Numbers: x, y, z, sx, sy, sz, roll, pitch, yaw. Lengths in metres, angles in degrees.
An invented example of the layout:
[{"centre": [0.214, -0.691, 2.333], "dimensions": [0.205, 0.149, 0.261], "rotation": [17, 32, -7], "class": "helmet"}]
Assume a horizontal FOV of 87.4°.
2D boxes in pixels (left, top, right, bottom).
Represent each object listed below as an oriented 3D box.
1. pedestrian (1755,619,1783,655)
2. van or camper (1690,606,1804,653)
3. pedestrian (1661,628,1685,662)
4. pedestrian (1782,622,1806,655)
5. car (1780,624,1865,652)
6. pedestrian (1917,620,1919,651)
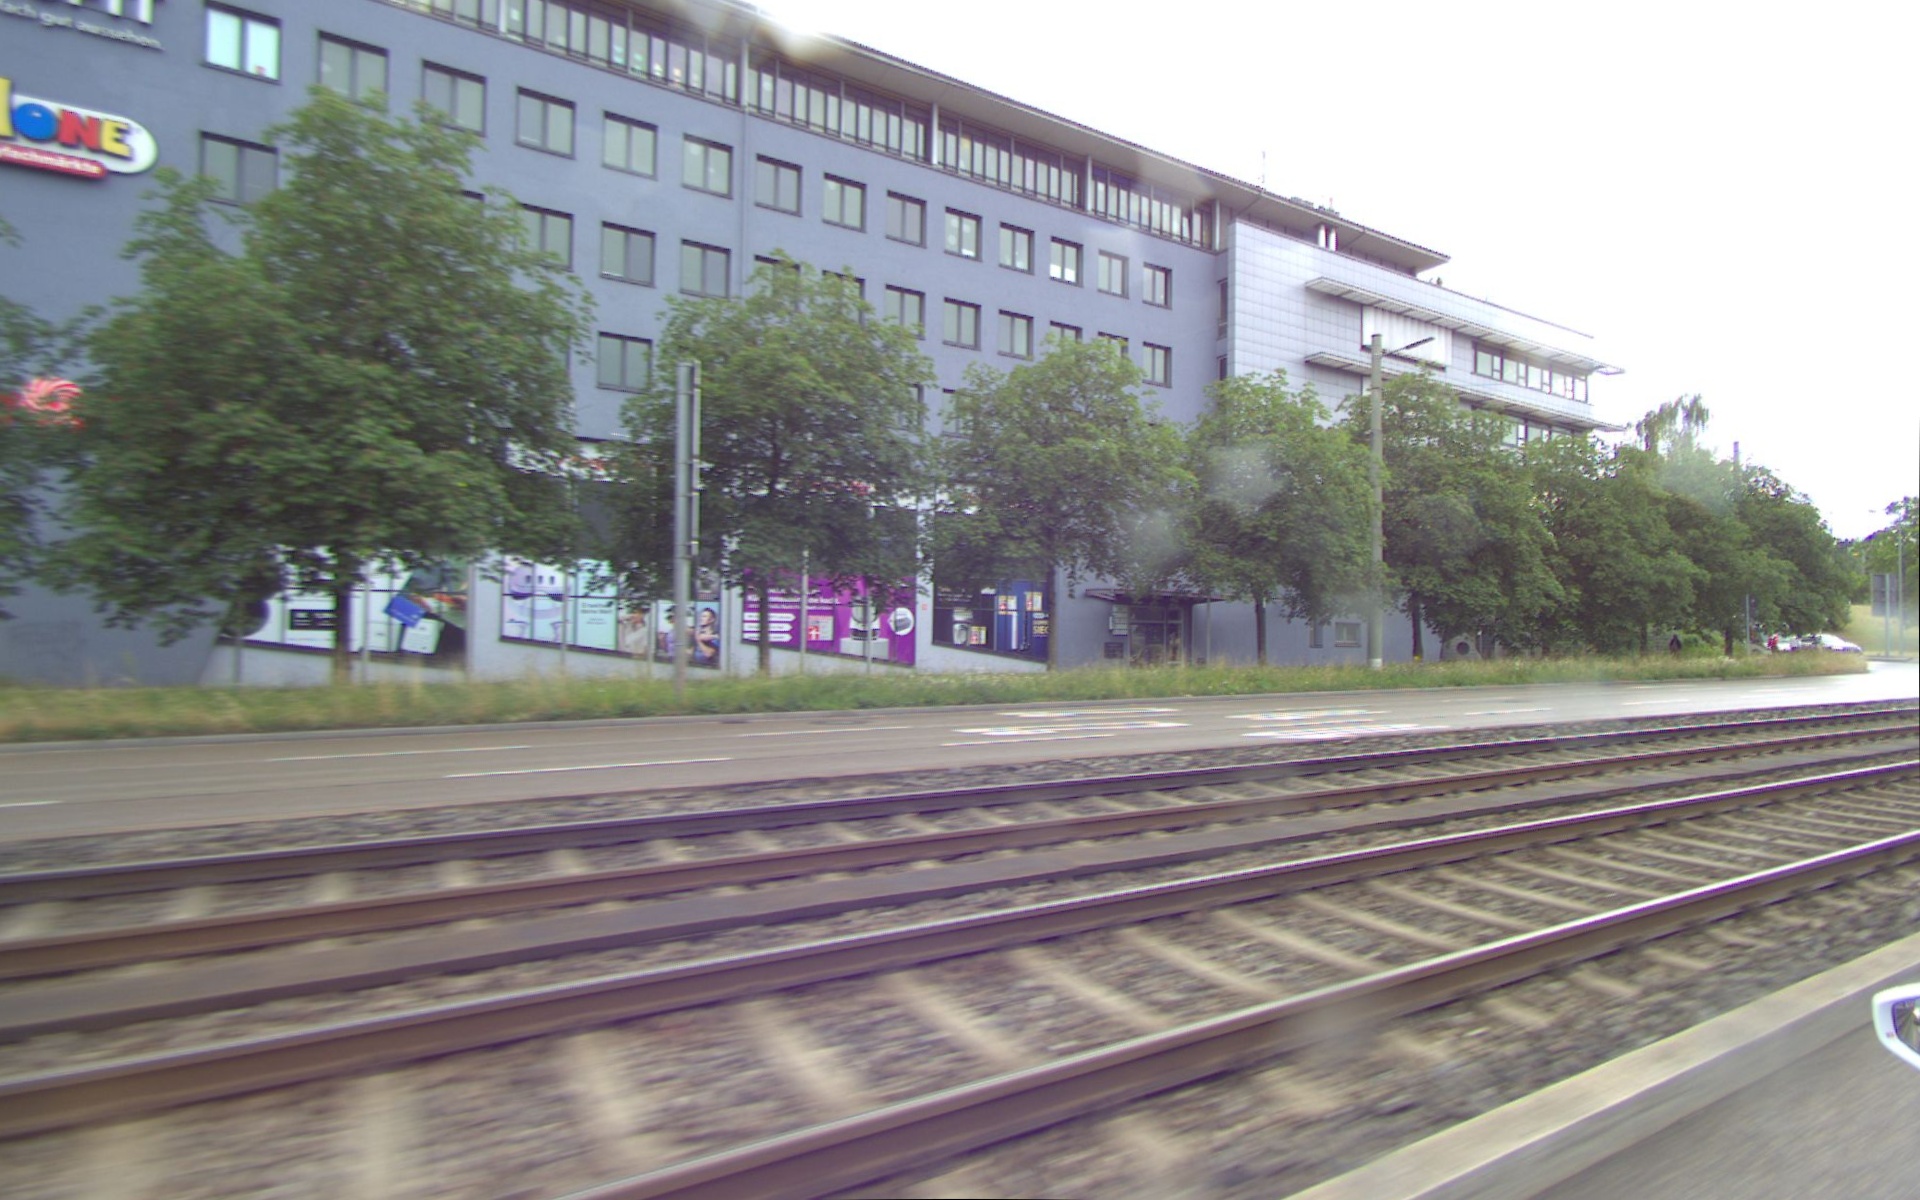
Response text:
[{"centre": [47.129, 2.153, 58.496], "dimensions": [0.929, 2.040, 0.887], "rotation": [1, -1, -13], "class": "pedestrian"}, {"centre": [53.586, 1.966, 68.700], "dimensions": [2.441, 3.006, 7.378], "rotation": [0, -1, 4], "class": "van or camper"}, {"centre": [38.616, 2.438, 54.401], "dimensions": [0.866, 1.779, 0.722], "rotation": [1, 1, -28], "class": "pedestrian"}, {"centre": [47.924, 2.194, 57.700], "dimensions": [0.938, 1.892, 0.634], "rotation": [0, -1, -15], "class": "pedestrian"}, {"centre": [57.739, 2.513, 67.356], "dimensions": [1.960, 1.755, 4.633], "rotation": [0, -1, 3], "class": "car"}, {"centre": [64.002, 2.345, 66.428], "dimensions": [0.857, 2.040, 0.881], "rotation": [1, -1, -35], "class": "pedestrian"}]
